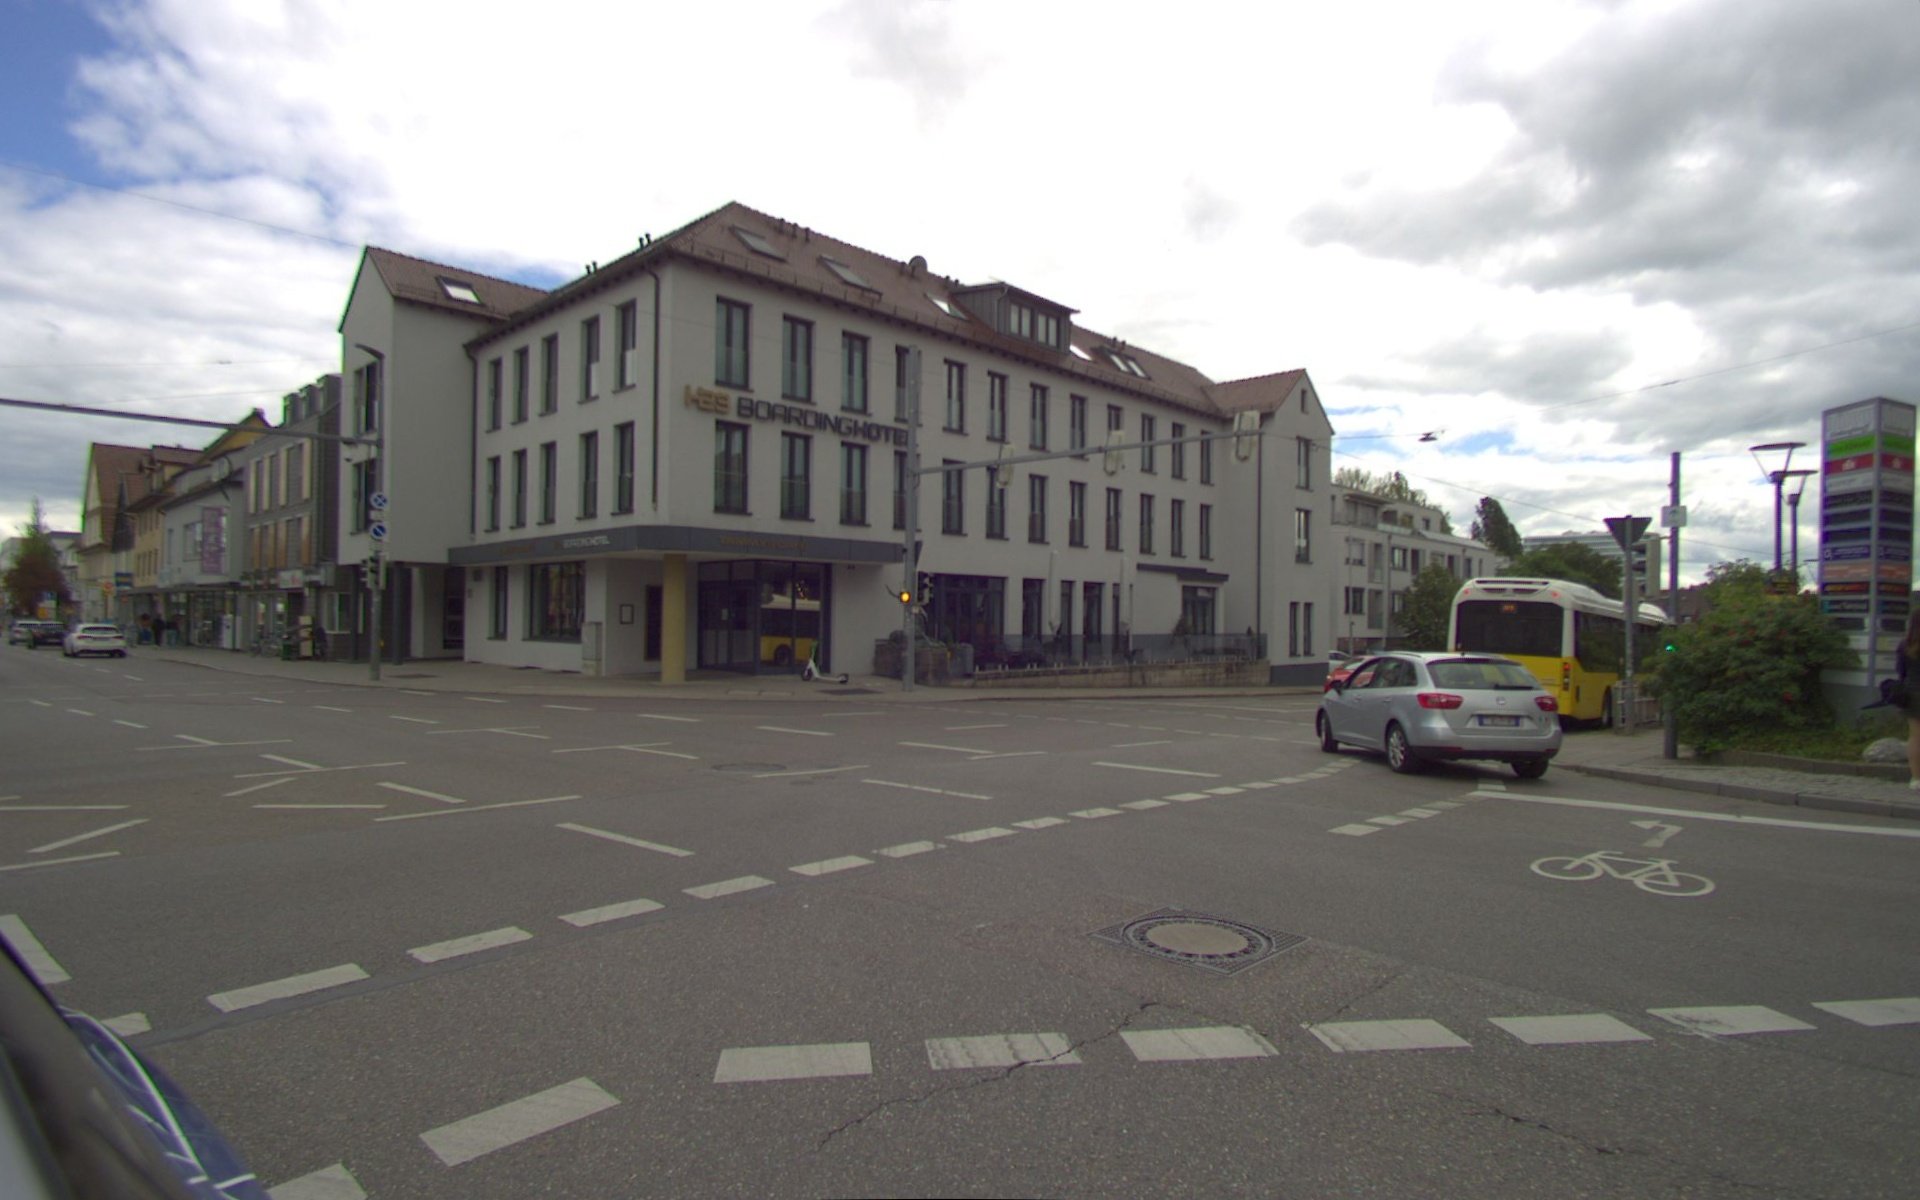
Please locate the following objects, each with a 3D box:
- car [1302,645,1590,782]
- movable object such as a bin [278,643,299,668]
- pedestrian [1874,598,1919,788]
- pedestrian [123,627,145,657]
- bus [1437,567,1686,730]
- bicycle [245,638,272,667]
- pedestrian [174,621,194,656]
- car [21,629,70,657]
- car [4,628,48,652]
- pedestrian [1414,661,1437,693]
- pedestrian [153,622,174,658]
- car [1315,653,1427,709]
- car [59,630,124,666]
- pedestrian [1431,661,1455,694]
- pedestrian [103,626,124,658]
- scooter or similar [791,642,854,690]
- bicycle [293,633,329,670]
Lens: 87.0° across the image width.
[{"bbox_3d":[5.798,1.322,12.716,1.618,1.429,4.196,0,-4,1],"label":"car"},{"bbox_3d":[-25.012,2.071,37.691,0.507,0.906,0.545,-2,-1,42],"label":"movable object such as a bin"},{"bbox_3d":[9.092,0.846,9.368,0.799,1.727,0.704,0,-2,-34],"label":"pedestrian"},{"bbox_3d":[-44.781,2.279,54.871,0.921,1.595,0.801,-2,-2,45],"label":"pedestrian"},{"bbox_3d":[16.032,1.374,26.293,2.997,3.353,12.129,-2,-4,43],"label":"bus"},{"bbox_3d":[-28.043,2.090,40.440,1.903,1.109,0.565,-2,-2,44],"label":"bicycle"},{"bbox_3d":[-40.172,1.988,52.383,0.699,1.795,0.870,1,-2,-45],"label":"pedestrian"},{"bbox_3d":[-49.867,2.331,55.169,3.819,1.470,1.724,-2,-3,44],"label":"car"},{"bbox_3d":[-60.425,2.593,65.456,4.001,1.497,1.848,-2,-2,44],"label":"car"},{"bbox_3d":[25.022,4.120,54.390,0.851,1.665,0.864,1,-2,-44],"label":"pedestrian"},{"bbox_3d":[-40.783,2.039,51.831,0.699,1.853,1.028,1,-2,-45],"label":"pedestrian"},{"bbox_3d":[12.386,2.406,30.385,1.816,1.497,3.942,-1,-3,43],"label":"car"},{"bbox_3d":[-37.124,2.014,43.229,4.236,1.470,1.724,-2,-3,44],"label":"car"},{"bbox_3d":[25.632,4.114,53.690,0.851,1.665,0.864,1,-2,-44],"label":"pedestrian"},{"bbox_3d":[-45.394,2.228,54.265,0.921,1.674,0.801,-2,-2,45],"label":"pedestrian"},{"bbox_3d":[-3.597,1.722,26.586,1.553,1.167,0.426,2,-1,3],"label":"scooter or similar"},{"bbox_3d":[-23.072,1.815,35.955,2.119,1.241,0.575,-1,-1,43],"label":"bicycle"}]
